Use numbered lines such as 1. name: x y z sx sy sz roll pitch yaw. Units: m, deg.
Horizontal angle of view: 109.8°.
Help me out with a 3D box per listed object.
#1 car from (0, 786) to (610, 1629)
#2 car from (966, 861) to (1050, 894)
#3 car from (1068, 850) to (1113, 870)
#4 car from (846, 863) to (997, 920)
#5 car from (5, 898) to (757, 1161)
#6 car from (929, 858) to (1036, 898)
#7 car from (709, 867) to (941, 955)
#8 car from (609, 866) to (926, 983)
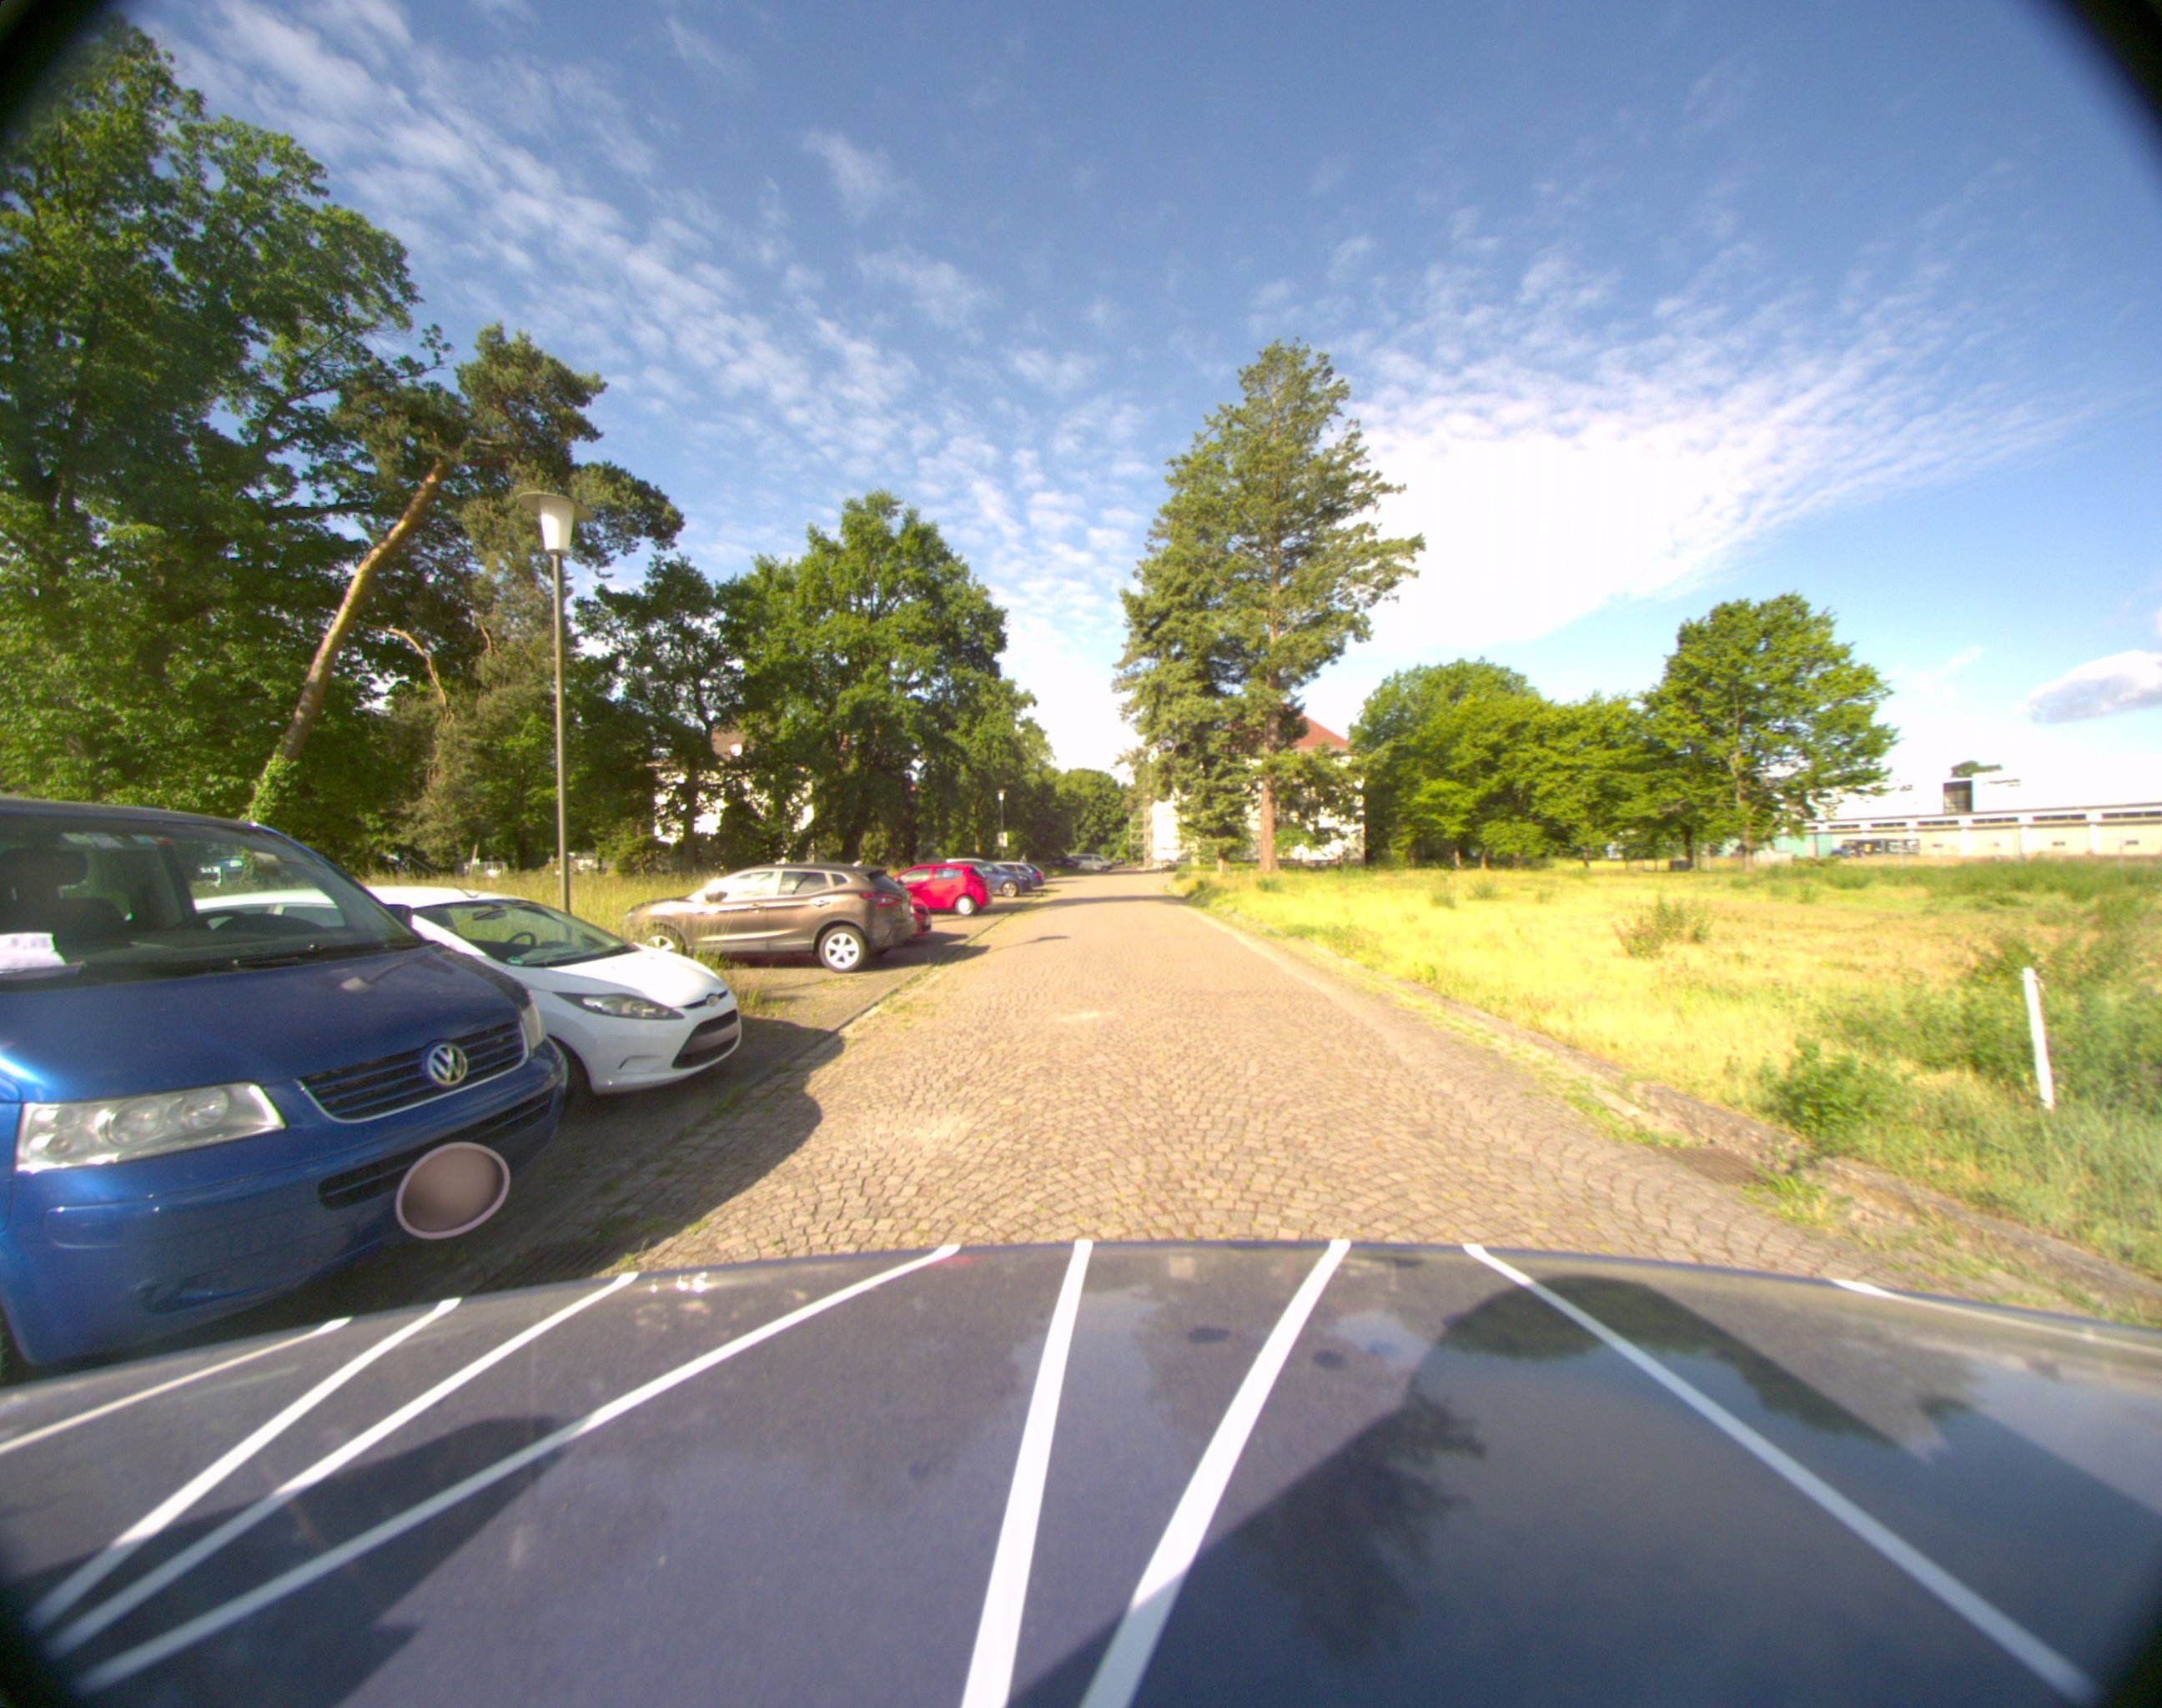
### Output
1. car: -4.777 0.804 2.863 4.765 2.002 2.000 1 0 2
2. car: -3.503 1.120 37.030 3.809 1.458 1.747 -1 0 2
3. car: 1.099 0.642 85.709 4.993 2.123 2.164 -1 0 -1
4. car: -4.536 1.064 21.975 3.997 1.486 1.540 -1 0 1
5. car: -4.478 1.093 5.310 3.729 1.458 1.609 0 0 -1
6. car: -4.129 0.997 32.257 4.273 1.589 1.651 -1 0 1
7. car: -4.773 1.040 14.514 3.834 1.530 1.703 0 0 2
8. car: -4.640 1.016 11.700 4.117 1.601 1.786 -1 0 0
